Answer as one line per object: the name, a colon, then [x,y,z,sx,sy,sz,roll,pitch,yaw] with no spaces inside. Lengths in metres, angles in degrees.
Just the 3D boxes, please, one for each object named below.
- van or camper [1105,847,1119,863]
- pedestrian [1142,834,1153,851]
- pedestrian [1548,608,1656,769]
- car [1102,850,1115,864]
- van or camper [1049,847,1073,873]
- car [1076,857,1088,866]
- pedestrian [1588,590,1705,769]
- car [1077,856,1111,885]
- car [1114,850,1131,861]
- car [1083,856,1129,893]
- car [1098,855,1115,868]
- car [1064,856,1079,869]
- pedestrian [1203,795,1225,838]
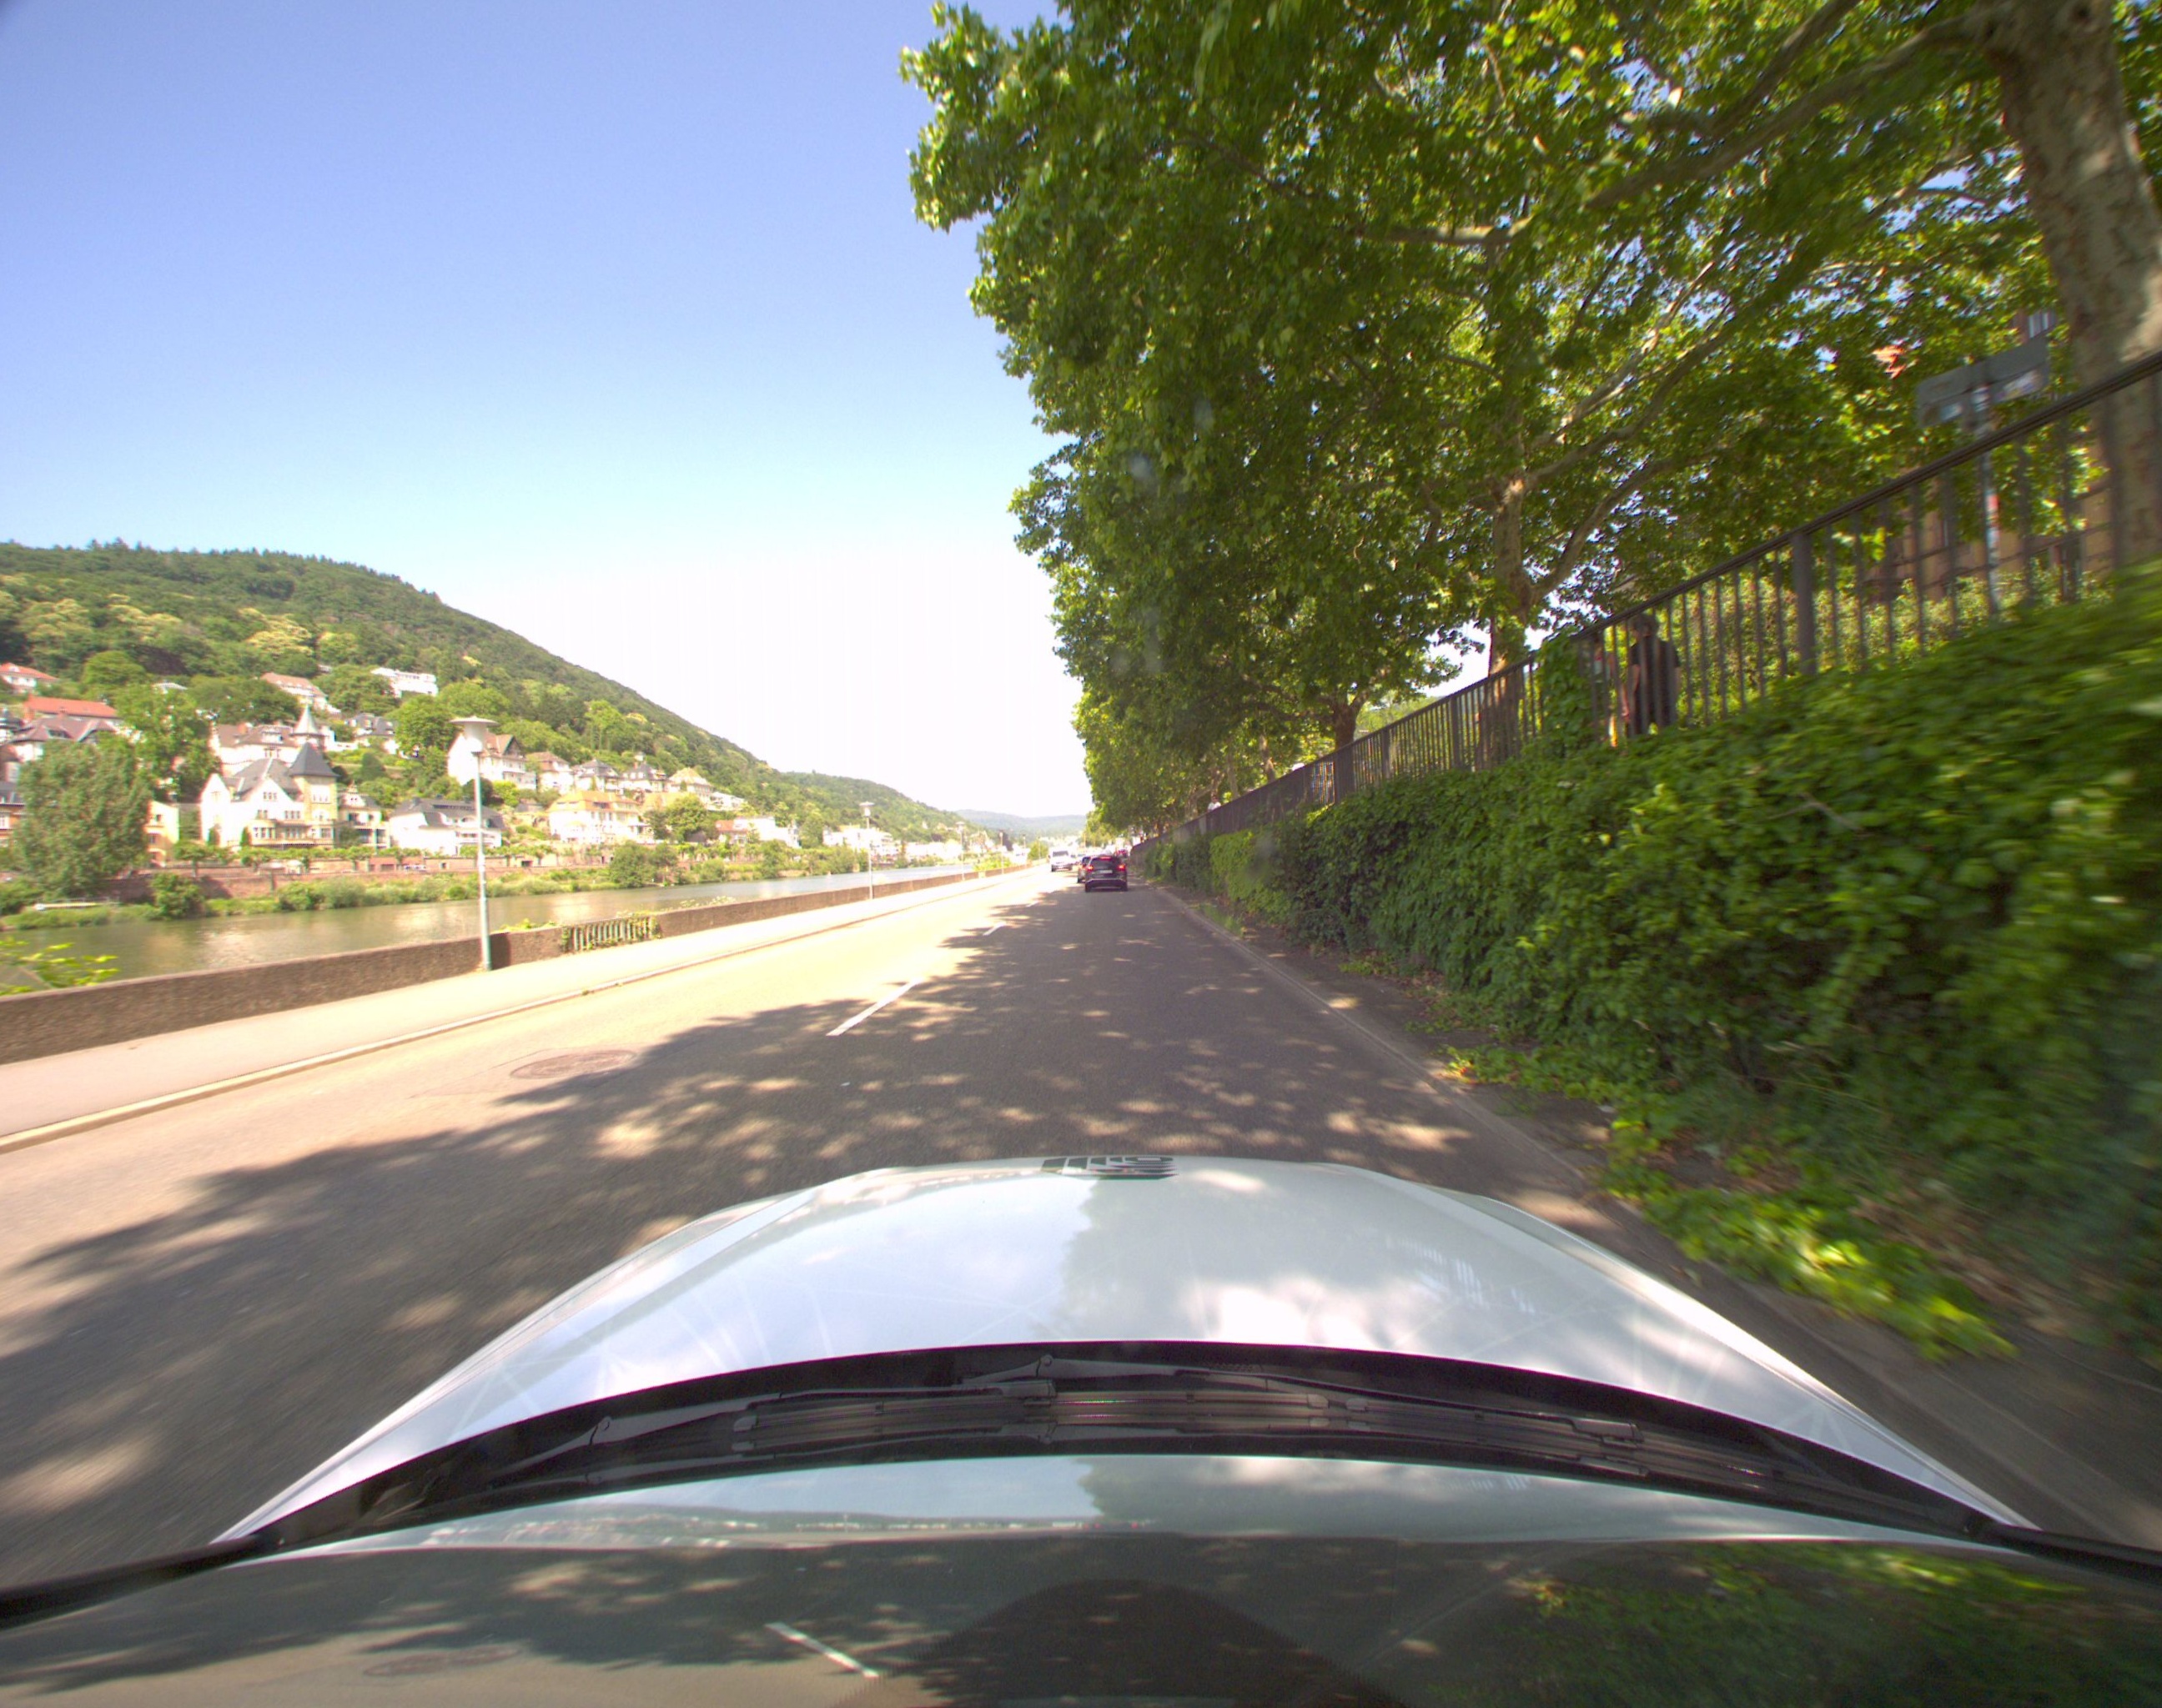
van or camper: [5.660,0.166,148.580,2.300,2.847,4.249,-3,0,3]
pedestrian: [6.620,-1.104,80.956,0.934,1.579,1.027,-5,0,-1]
pedestrian: [5.016,-1.574,7.865,0.584,1.419,0.588,-3,-1,-6]
car: [4.537,0.432,135.731,1.987,2.169,4.000,-3,0,1]
van or camper: [-1.982,0.589,82.149,2.069,2.398,5.386,-3,0,1]
car: [0.149,1.213,131.289,1.725,1.442,4.046,-3,0,1]
pedestrian: [5.635,-1.713,8.139,0.646,1.640,0.625,-3,-1,-7]
car: [0.732,0.878,45.690,1.822,1.511,4.001,-1,0,1]
car: [8.203,0.281,160.546,3.088,2.013,5.825,-5,0,1]
car: [1.048,0.849,35.151,1.822,1.486,4.001,-1,0,1]
car: [3.014,0.838,96.869,1.822,1.444,4.000,-3,0,1]
car: [-1.246,1.141,110.222,1.725,1.650,4.178,-4,0,1]
pedestrian: [5.017,-1.413,30.809,0.662,1.591,0.651,-3,-1,1]
